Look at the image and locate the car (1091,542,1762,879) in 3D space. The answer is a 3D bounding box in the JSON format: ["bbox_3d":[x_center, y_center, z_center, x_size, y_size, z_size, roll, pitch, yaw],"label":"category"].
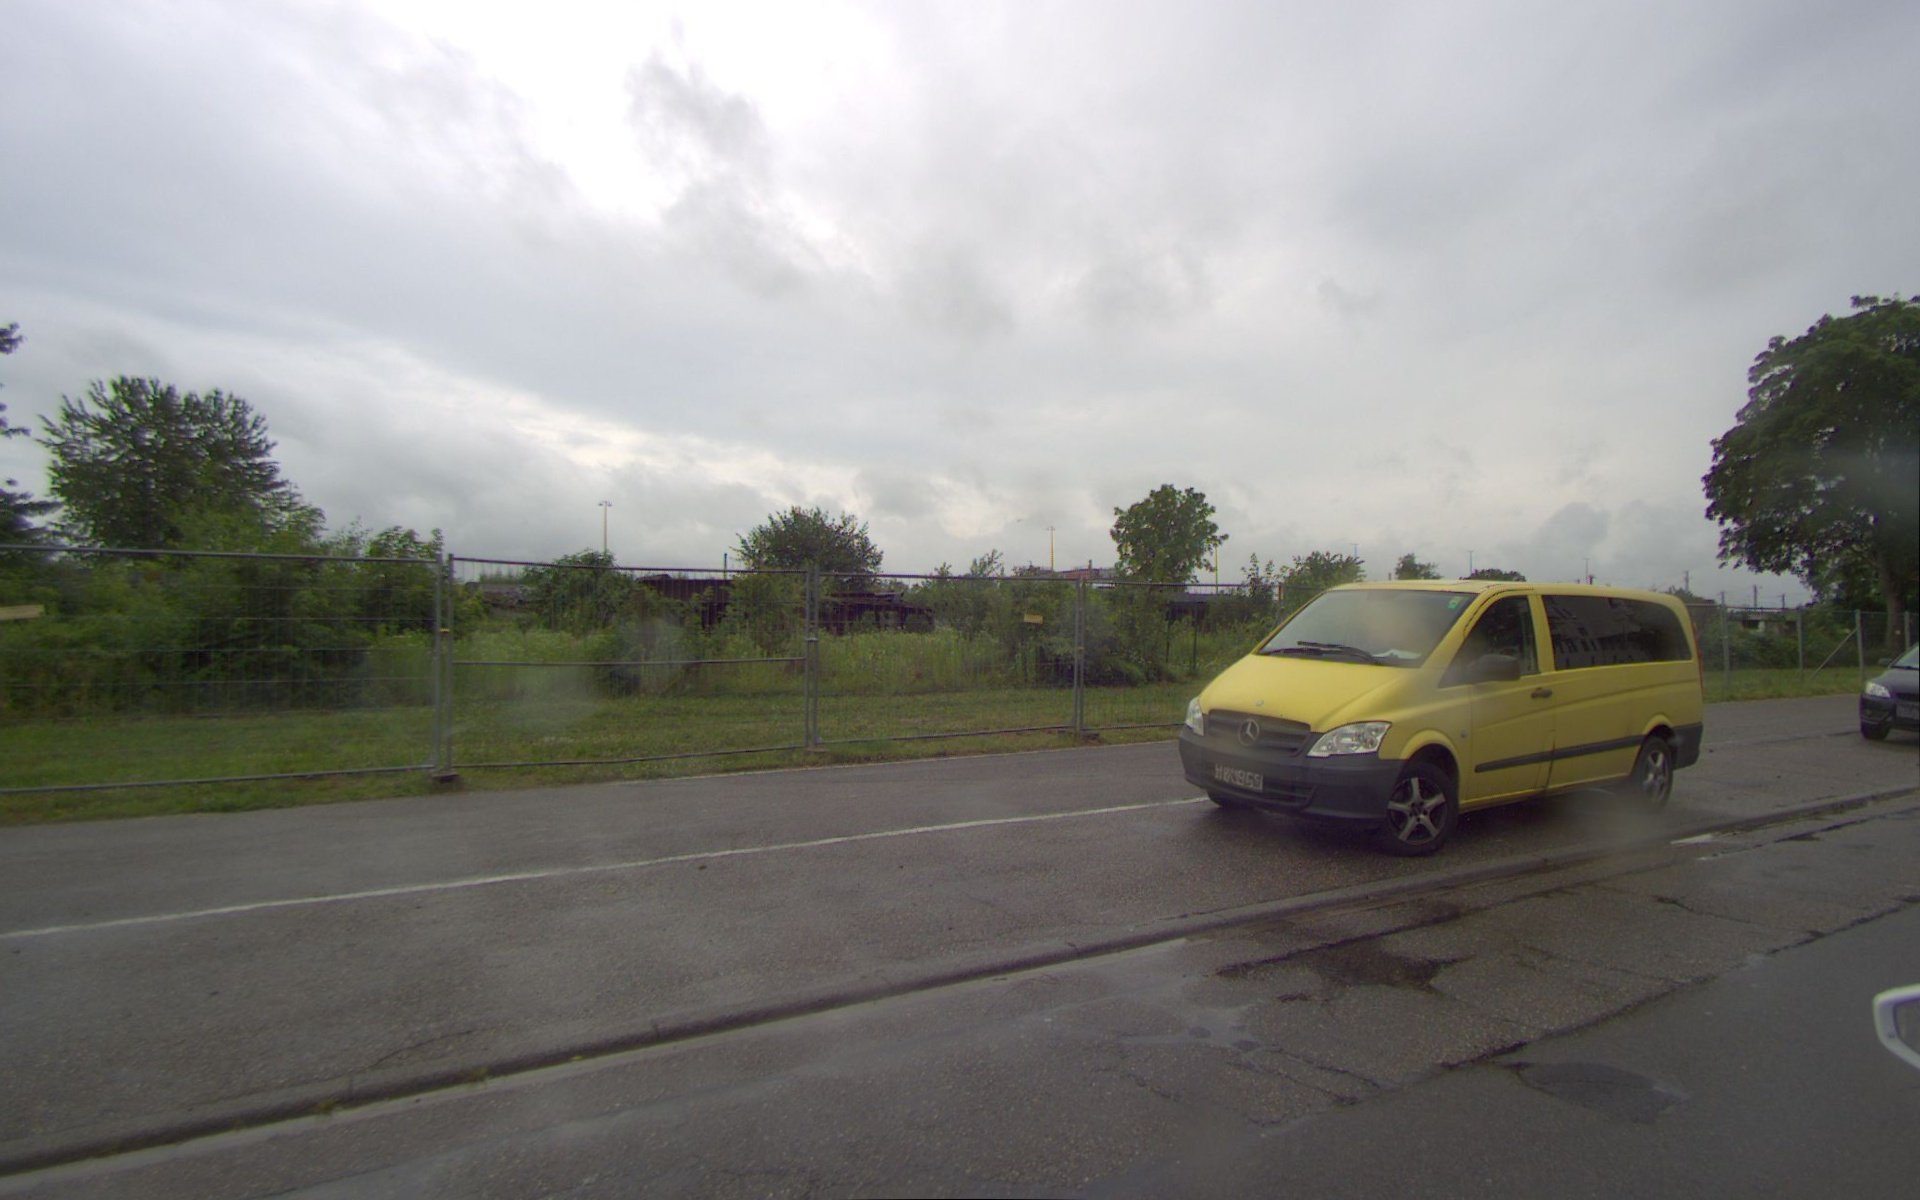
[{"bbox_3d":[4.086,0.712,8.316,5.995,1.982,2.007,2,0,-31],"label":"car"}]

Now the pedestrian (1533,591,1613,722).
[{"bbox_3d":[9.917,0.891,16.256,0.968,2.040,0.739,1,-1,-30],"label":"pedestrian"}]

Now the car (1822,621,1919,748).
[{"bbox_3d":[14.604,1.186,14.394,4.961,1.615,1.983,2,0,-32],"label":"car"}]
